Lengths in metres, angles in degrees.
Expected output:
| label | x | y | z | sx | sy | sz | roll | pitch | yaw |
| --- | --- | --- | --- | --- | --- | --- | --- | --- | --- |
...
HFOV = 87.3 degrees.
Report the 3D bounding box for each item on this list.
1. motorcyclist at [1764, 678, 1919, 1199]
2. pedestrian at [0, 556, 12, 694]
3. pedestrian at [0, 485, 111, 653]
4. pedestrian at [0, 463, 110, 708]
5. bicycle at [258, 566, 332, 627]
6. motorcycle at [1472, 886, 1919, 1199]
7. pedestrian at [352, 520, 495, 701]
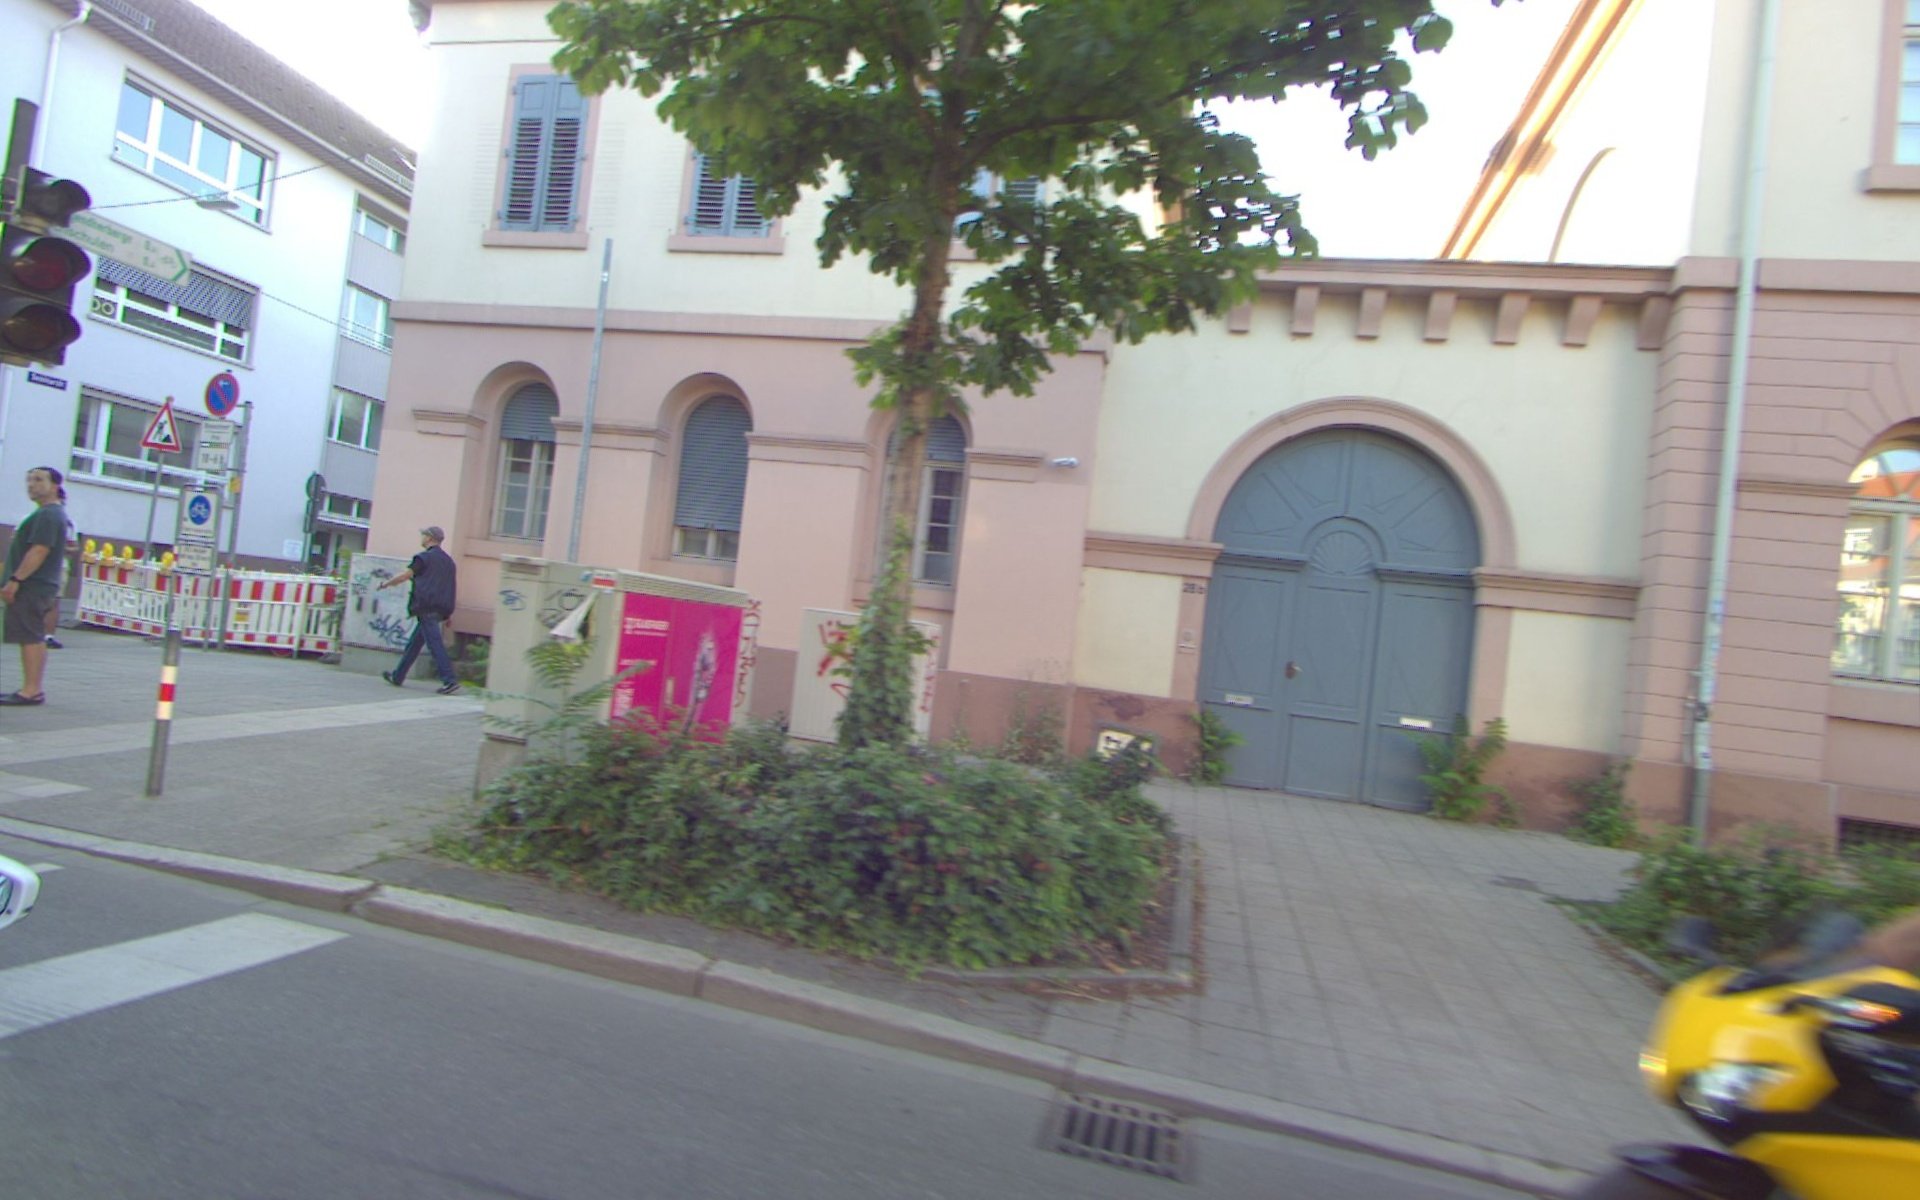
| label | x | y | z | sx | sy | sz | roll | pitch | yaw |
| --- | --- | --- | --- | --- | --- | --- | --- | --- | --- |
| motorcyclist | 2.337 | 0.916 | 2.066 | 0.713 | 1.428 | 0.739 | 6 | -2 | 4 |
| pedestrian | -7.307 | 0.240 | 7.288 | 0.541 | 1.159 | 0.487 | 5 | 1 | -41 |
| pedestrian | -10.958 | -0.363 | 12.002 | 1.030 | 1.877 | 0.699 | 6 | 0 | 19 |
| pedestrian | -7.142 | -0.115 | 7.764 | 0.565 | 1.797 | 0.545 | 6 | 1 | 15 |
| bicycle | -14.792 | -0.045 | 22.423 | 0.524 | 1.253 | 1.794 | 7 | -2 | -8 |
| motorcycle | 2.223 | 1.329 | 2.062 | 1.927 | 1.071 | 0.739 | 6 | -2 | 4 |
| pedestrian | -5.869 | 0.113 | 11.035 | 1.045 | 1.818 | 0.699 | 6 | 1 | 15 |
